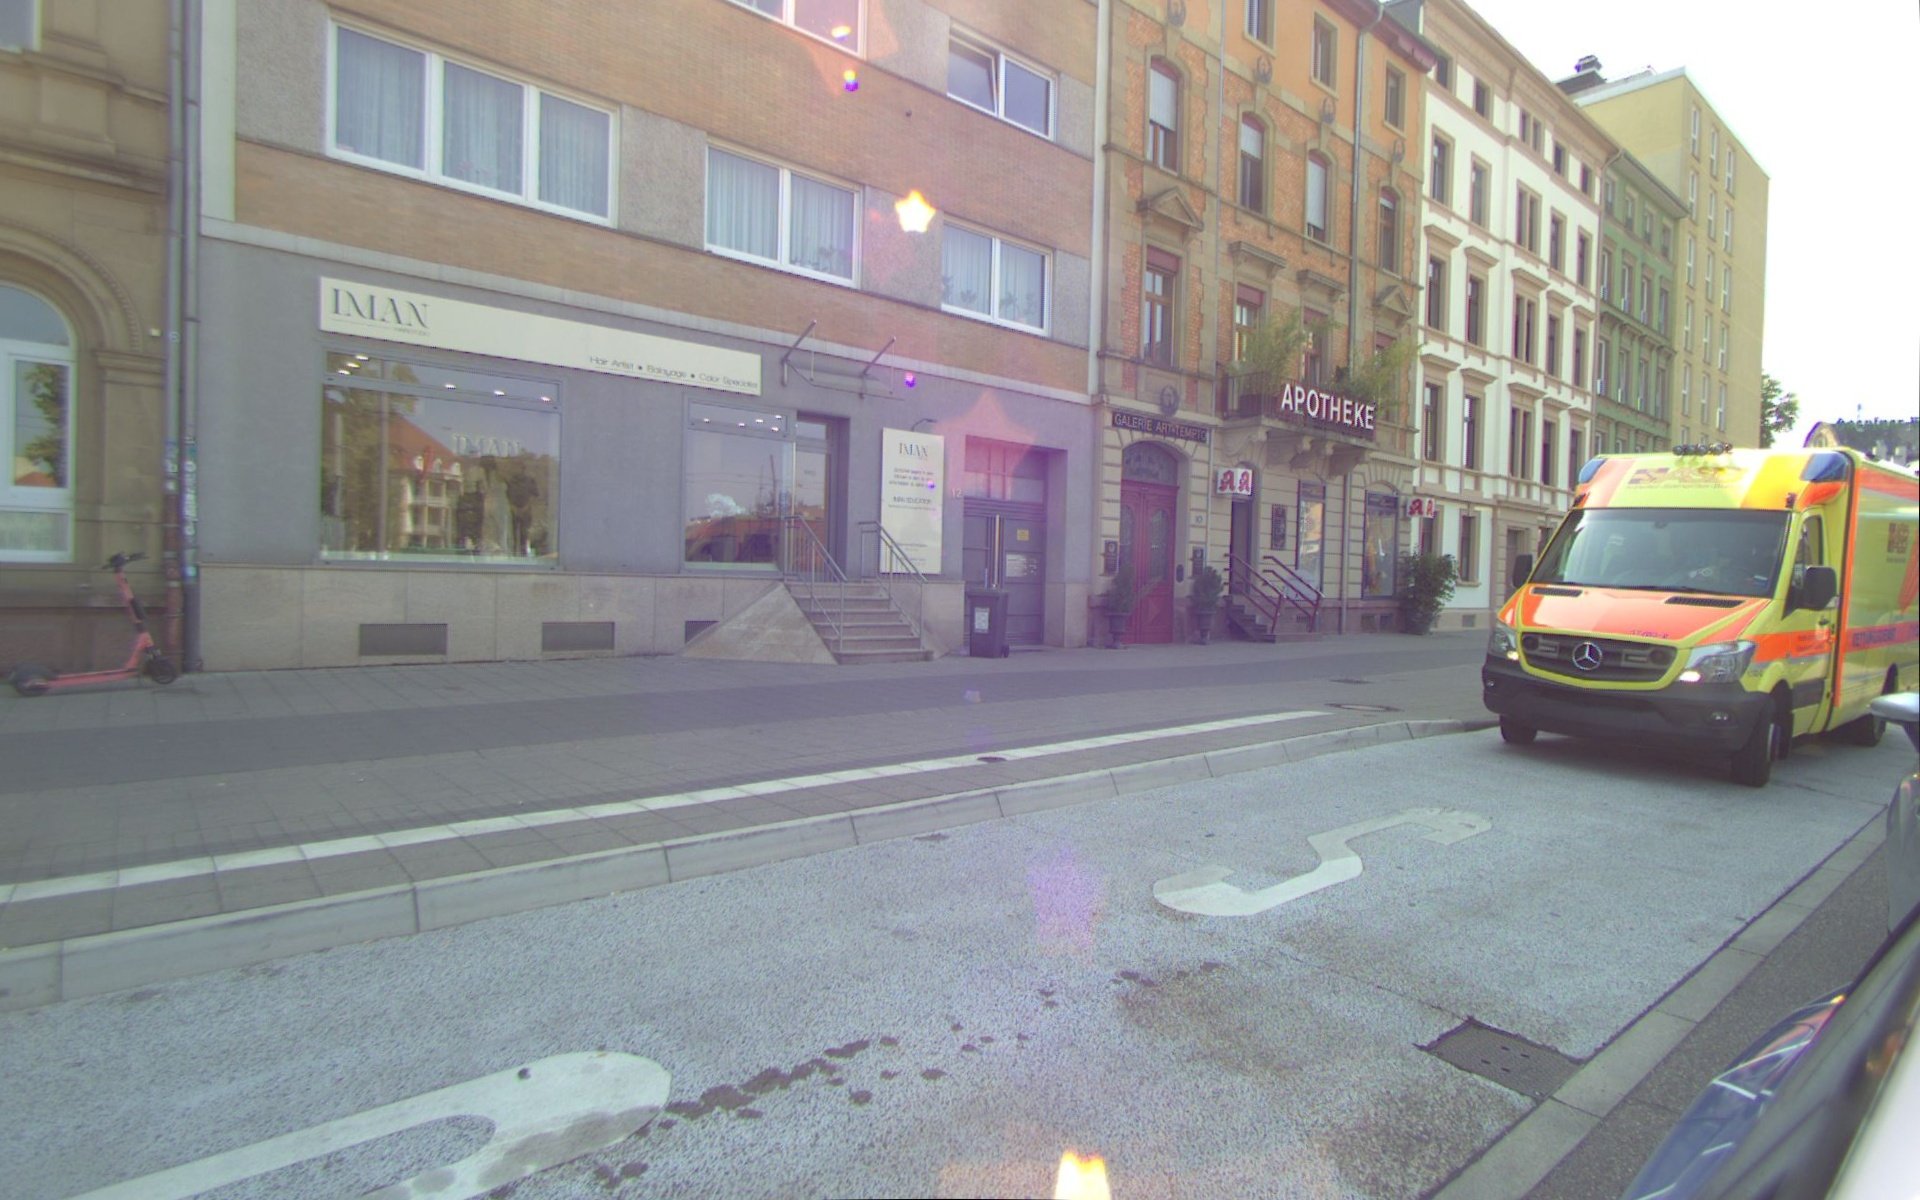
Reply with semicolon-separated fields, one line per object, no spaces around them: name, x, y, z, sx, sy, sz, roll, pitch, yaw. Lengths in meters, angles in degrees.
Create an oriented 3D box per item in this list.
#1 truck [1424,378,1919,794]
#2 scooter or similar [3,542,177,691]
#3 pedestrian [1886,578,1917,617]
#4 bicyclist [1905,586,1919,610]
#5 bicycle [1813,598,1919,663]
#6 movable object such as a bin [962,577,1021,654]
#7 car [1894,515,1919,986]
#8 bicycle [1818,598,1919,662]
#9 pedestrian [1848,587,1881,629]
truck;7.231;-0.170;9.632;6.221;2.803;2.336;0;4;-37
scooter or similar;-7.651;0.128;8.918;0.476;1.227;1.124;3;2;44
pedestrian;41.045;-0.125;44.129;0.780;1.648;0.647;1;2;-20
bicyclist;65.426;-0.144;69.386;1.083;1.606;0.721;1;1;-40
bicycle;17.972;0.571;19.868;0.427;1.219;1.841;1;0;-39
movable object such as a bin;0.490;0.222;15.668;0.640;1.118;0.723;3;2;24
car;5.296;0.531;4.114;3.929;1.608;1.728;0;1;-40
bicycle;18.308;0.571;20.134;0.427;1.219;1.841;1;0;-39
pedestrian;39.791;0.346;44.540;0.780;1.780;0.691;2;2;-16
